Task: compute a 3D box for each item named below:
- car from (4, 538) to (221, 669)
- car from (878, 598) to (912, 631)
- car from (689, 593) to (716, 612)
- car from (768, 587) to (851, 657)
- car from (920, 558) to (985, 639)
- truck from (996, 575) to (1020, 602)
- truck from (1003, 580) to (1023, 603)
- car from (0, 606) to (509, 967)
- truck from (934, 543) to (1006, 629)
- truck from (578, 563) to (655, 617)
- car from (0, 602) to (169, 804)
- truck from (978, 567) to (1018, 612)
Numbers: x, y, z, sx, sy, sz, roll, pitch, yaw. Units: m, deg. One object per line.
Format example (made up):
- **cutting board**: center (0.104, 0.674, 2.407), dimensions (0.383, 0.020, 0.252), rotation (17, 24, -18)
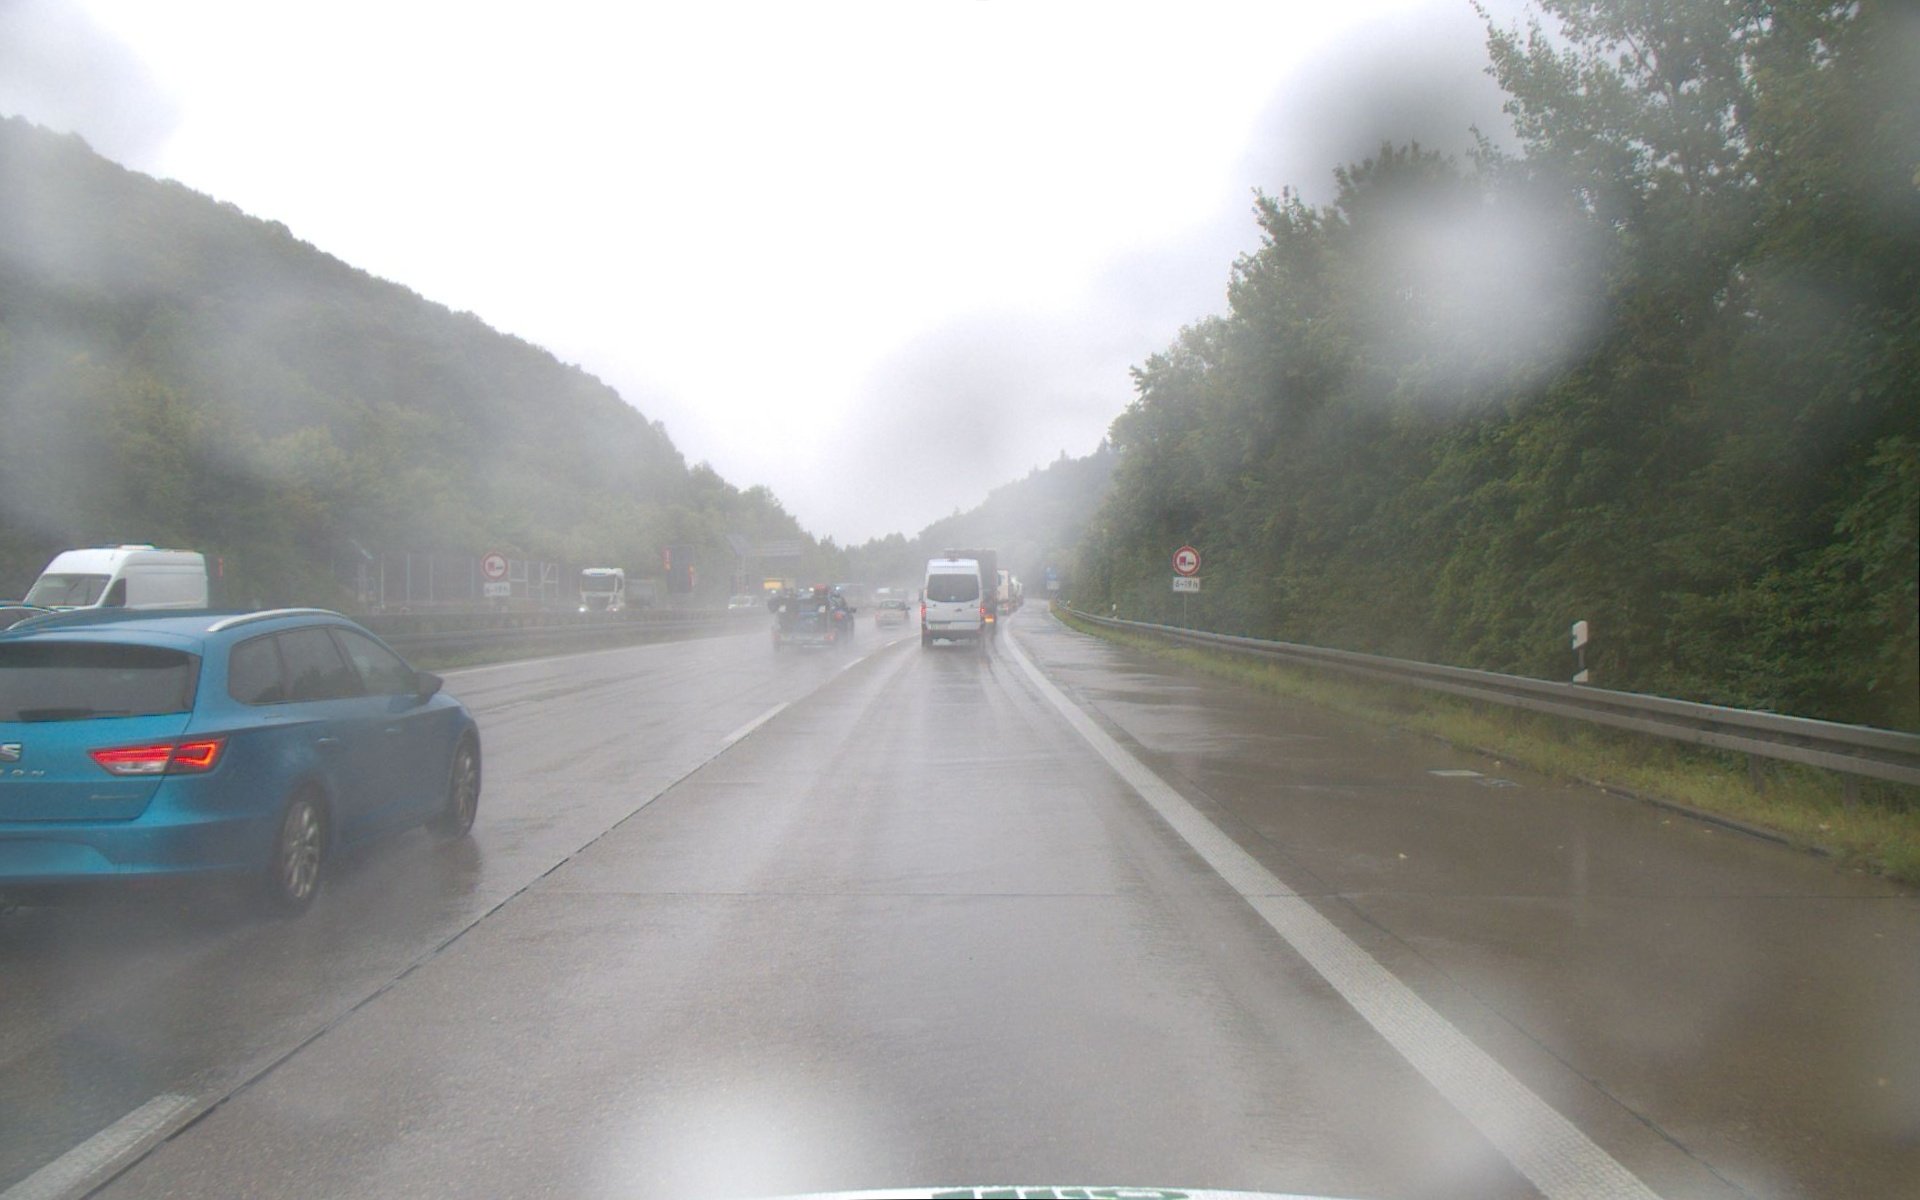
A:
- **car**: center (-20.707, 0.065, 40.835), dimensions (2.046, 2.951, 6.532), rotation (1, 0, -1)
- **car**: center (-3.430, 0.755, 87.848), dimensions (1.581, 1.656, 4.189), rotation (1, 0, 1)
- **car**: center (-24.378, 0.226, 156.414), dimensions (1.953, 1.691, 3.999), rotation (0, 0, -1)
- **car**: center (-4.136, 0.573, 45.939), dimensions (1.830, 1.841, 4.189), rotation (1, 0, 1)
- **car**: center (-0.188, -0.063, 51.568), dimensions (1.860, 2.374, 5.251), rotation (1, 0, 1)
- **truck**: center (5.504, -1.321, 190.350), dimensions (2.532, 3.033, 9.027), rotation (1, 0, 1)
- **truck**: center (7.322, -1.124, 228.141), dimensions (2.532, 3.033, 9.027), rotation (1, 0, 1)
- **car**: center (-3.832, 0.737, 8.616), dimensions (1.818, 1.362, 4.350), rotation (1, 0, -1)
- **truck**: center (0.423, -0.811, 84.903), dimensions (3.317, 4.036, 8.665), rotation (-3, 2, -1)
- **truck**: center (-22.565, -0.654, 109.277), dimensions (2.717, 3.373, 11.514), rotation (1, 0, -1)
- **car**: center (-7.517, 0.709, 11.661), dimensions (1.818, 1.362, 4.350), rotation (1, 0, -1)
- **truck**: center (3.539, -0.912, 150.379), dimensions (3.025, 3.978, 9.059), rotation (1, 0, 5)
